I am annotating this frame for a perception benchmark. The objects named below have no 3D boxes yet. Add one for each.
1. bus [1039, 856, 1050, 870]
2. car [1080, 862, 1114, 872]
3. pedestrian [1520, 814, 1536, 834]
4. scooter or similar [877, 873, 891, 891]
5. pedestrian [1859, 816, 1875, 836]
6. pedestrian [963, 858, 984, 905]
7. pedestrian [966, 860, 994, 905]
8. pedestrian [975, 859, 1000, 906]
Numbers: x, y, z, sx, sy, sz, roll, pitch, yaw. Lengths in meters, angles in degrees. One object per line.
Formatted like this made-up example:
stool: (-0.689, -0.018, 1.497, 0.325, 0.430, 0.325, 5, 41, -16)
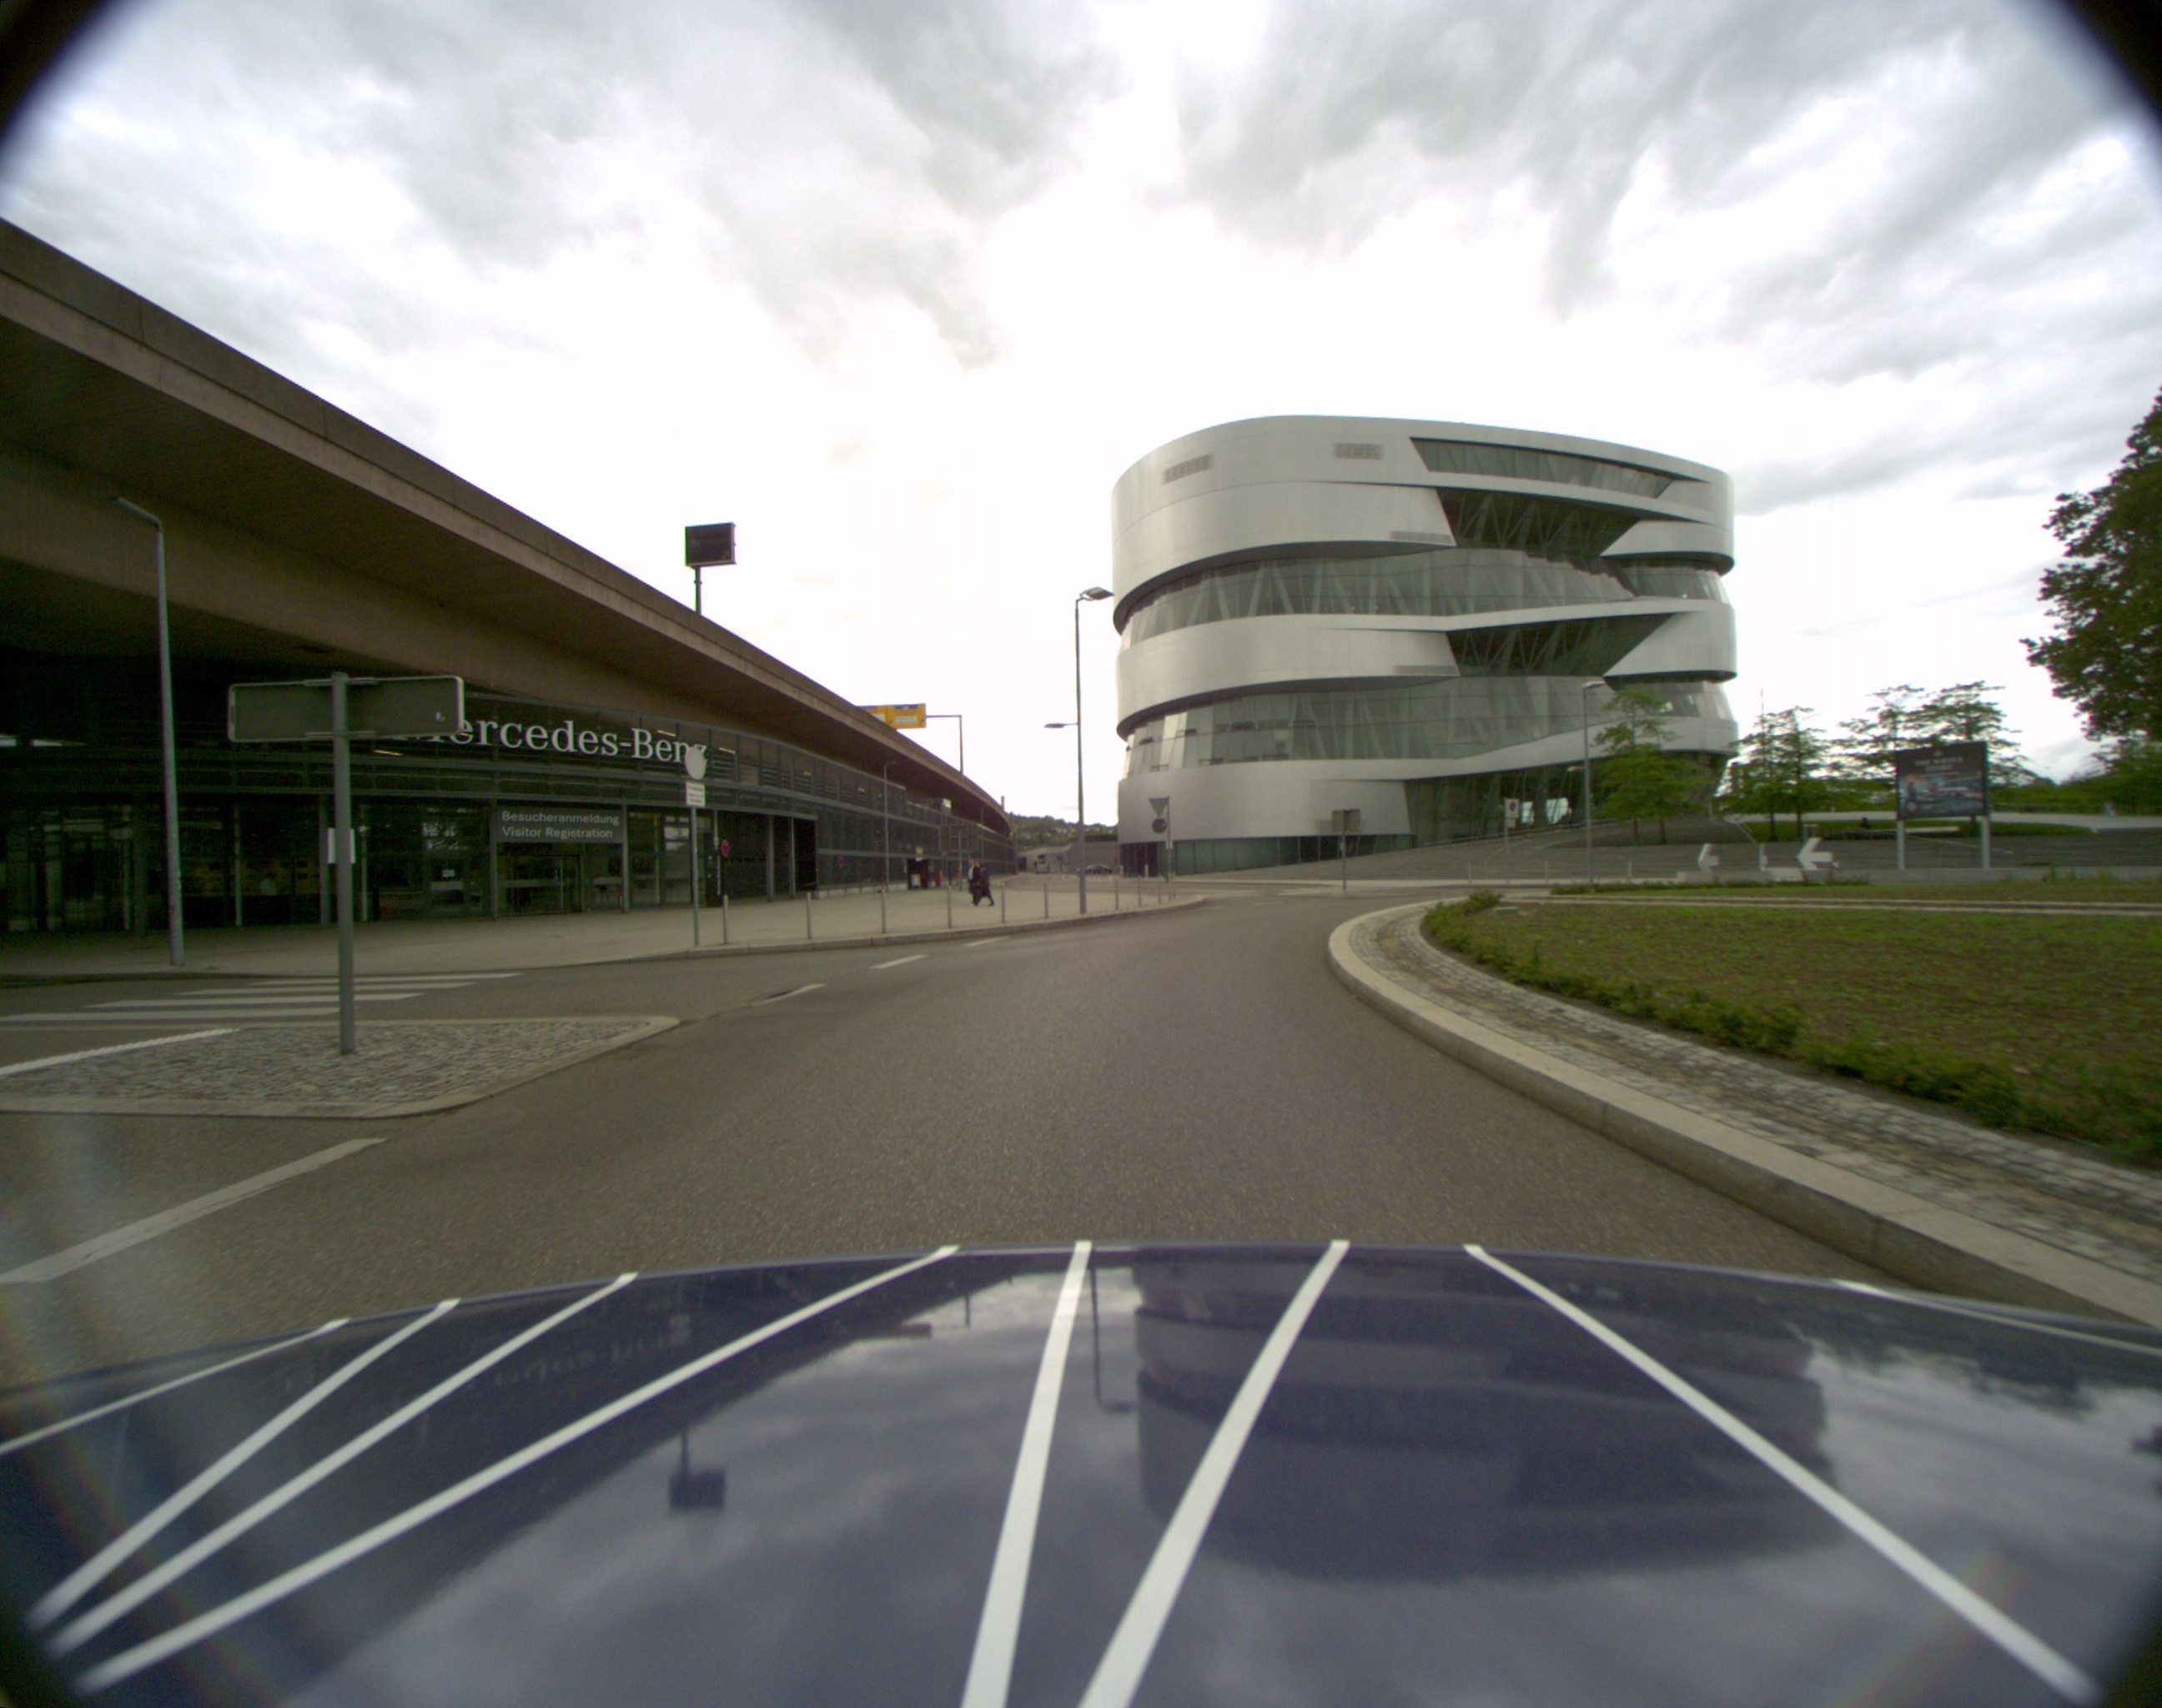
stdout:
bus: (-9.359, 2.451, 195.269, 2.930, 3.420, 6.967, -1, -2, -3)
car: (2.329, 1.941, 110.880, 4.903, 1.389, 1.535, -1, -1, 0)
pedestrian: (45.906, -3.102, 78.096, 0.952, 1.913, 0.852, -5, 0, -8)
scooter or similar: (-12.076, 1.718, 46.646, 0.380, 1.116, 1.429, -1, -1, 3)
pedestrian: (56.954, -2.028, 55.049, 0.684, 1.379, 0.789, 0, -2, -44)
pedestrian: (-4.239, 1.084, 29.954, 0.783, 1.787, 0.865, -1, -1, -8)
pedestrian: (-3.870, 1.078, 29.049, 0.774, 1.694, 0.785, 0, -1, -35)
pedestrian: (-3.454, 1.061, 28.075, 0.773, 1.694, 0.864, 0, -1, -15)
